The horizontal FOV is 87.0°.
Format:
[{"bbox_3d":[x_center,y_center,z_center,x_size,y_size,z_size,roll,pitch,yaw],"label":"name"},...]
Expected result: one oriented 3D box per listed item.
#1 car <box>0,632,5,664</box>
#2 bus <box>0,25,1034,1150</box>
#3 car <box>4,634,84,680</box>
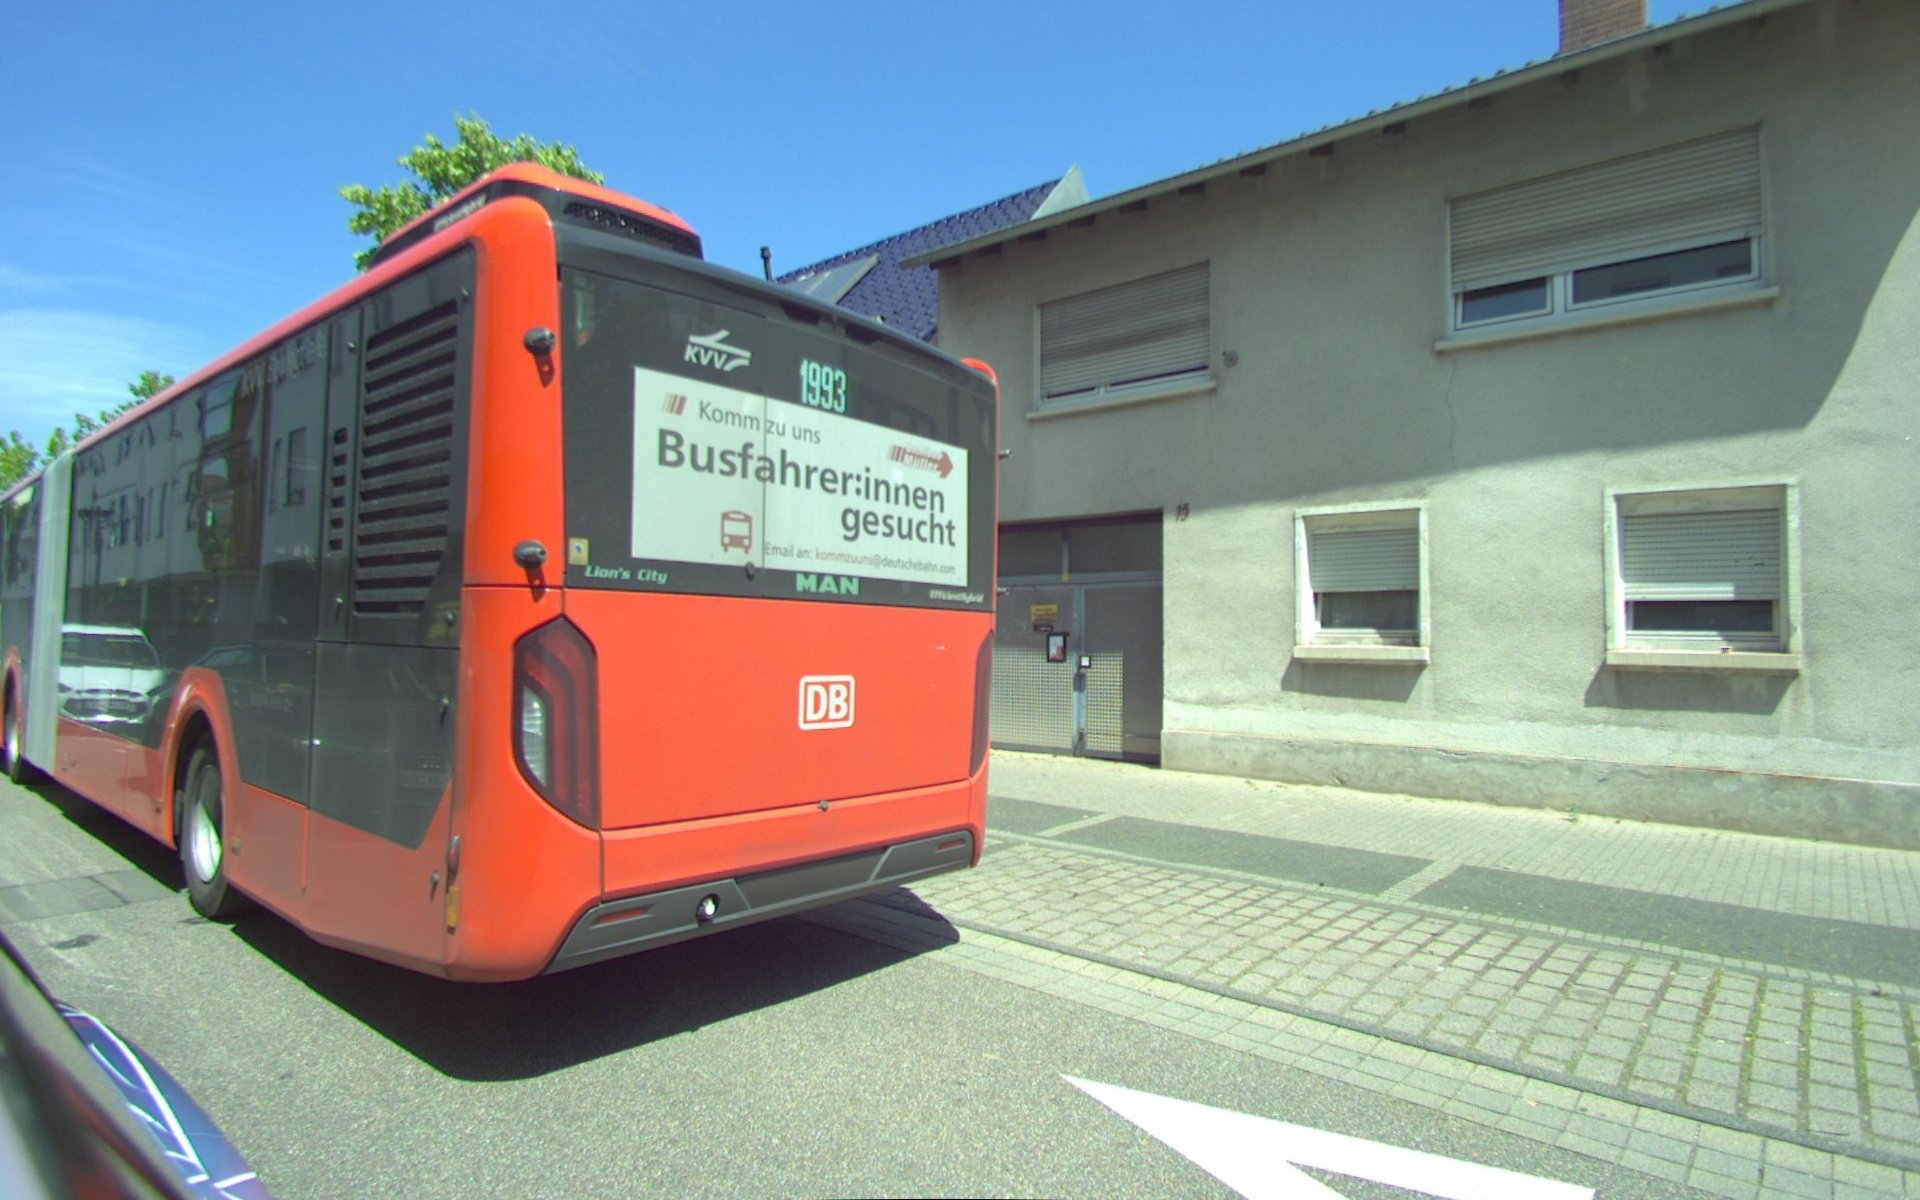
[{"bbox_3d":[-44.740,2.145,45.930,4.156,1.418,1.639,-2,-3,42],"label":"car"},{"bbox_3d":[-7.240,0.159,9.645,17.794,3.148,2.641,-2,-3,41],"label":"bus"},{"bbox_3d":[-30.427,1.864,33.586,3.408,1.441,1.537,-2,-4,41],"label":"car"}]
